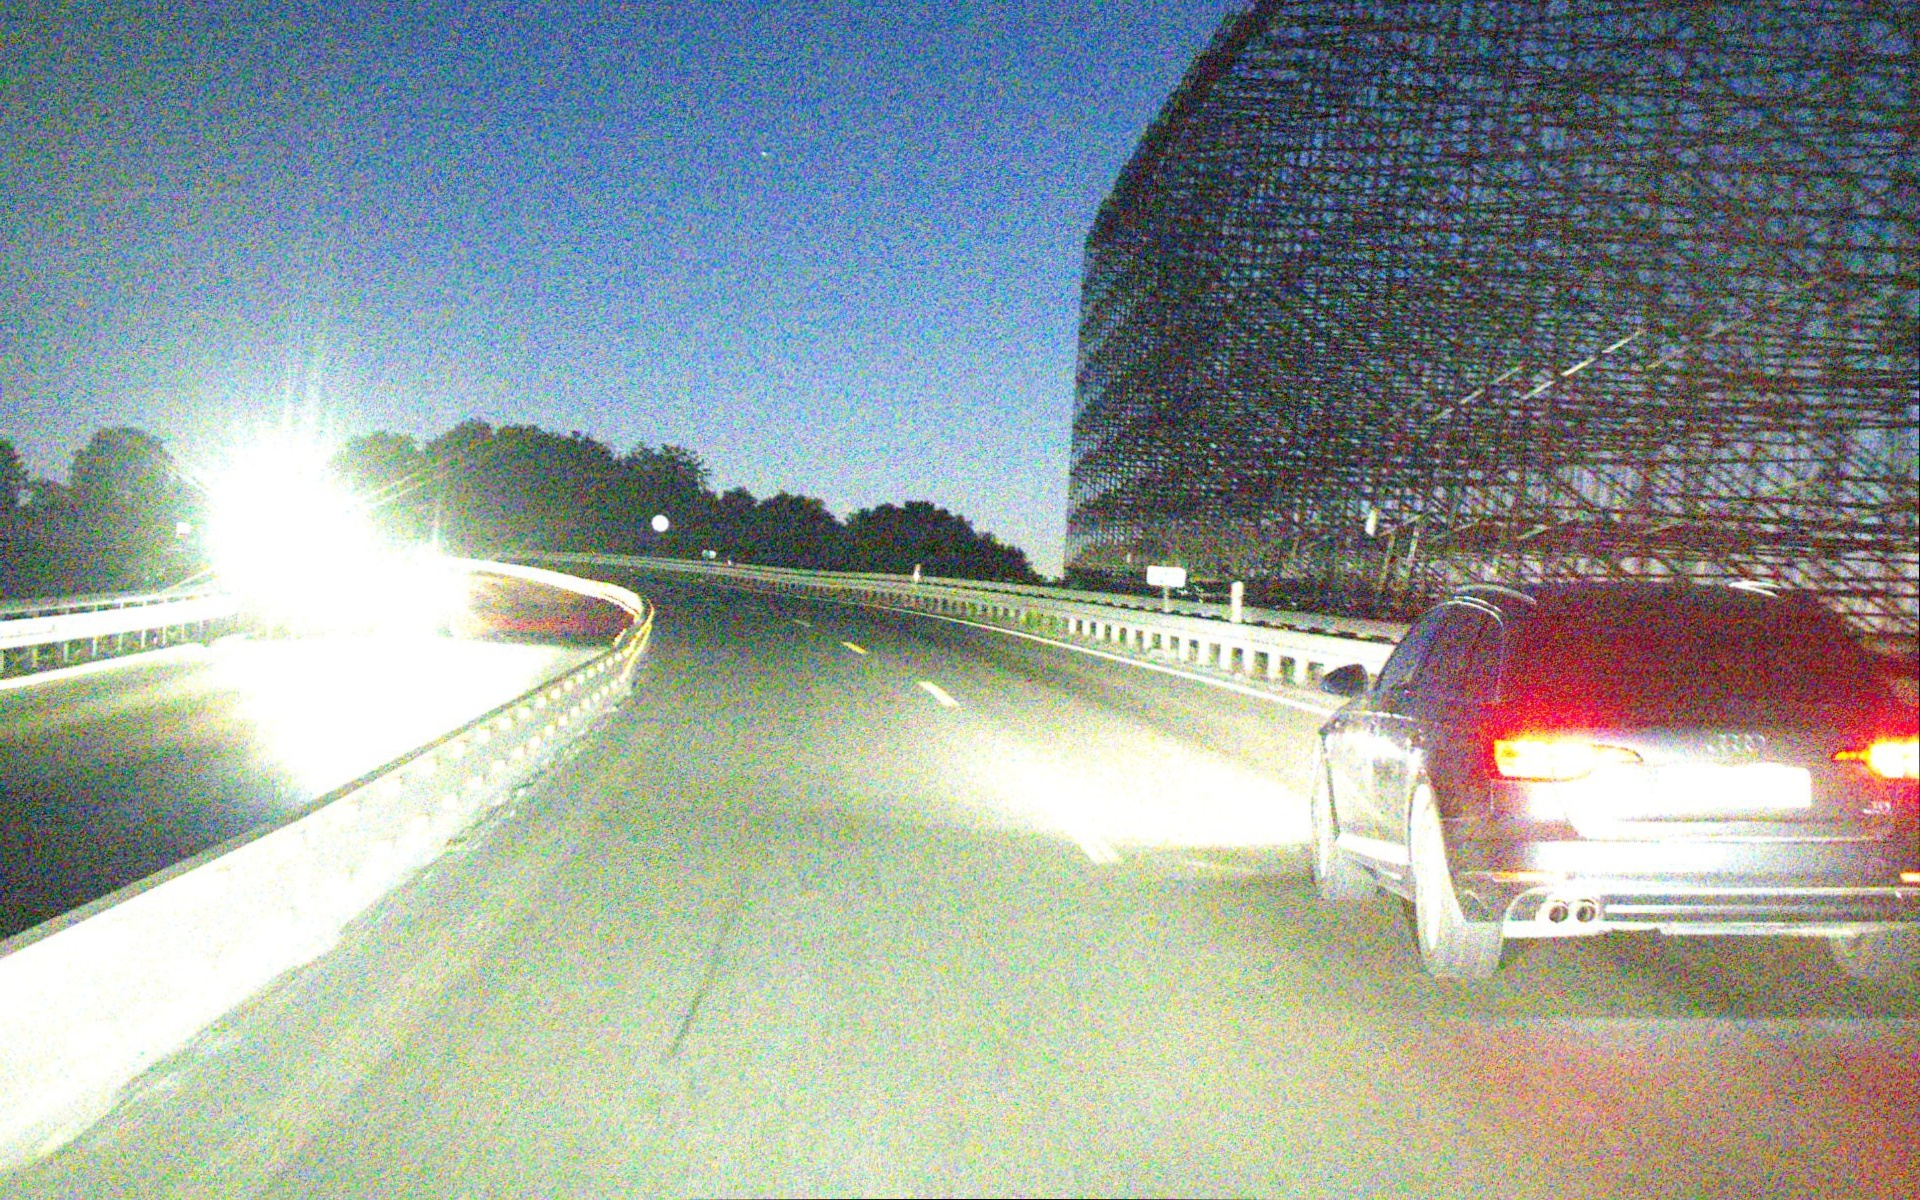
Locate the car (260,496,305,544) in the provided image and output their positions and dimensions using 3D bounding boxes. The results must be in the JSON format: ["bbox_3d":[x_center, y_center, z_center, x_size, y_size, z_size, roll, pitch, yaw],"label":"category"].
[{"bbox_3d":[-46.281,-5.422,234.828,2.485,3.095,7.387,0,0,-15],"label":"car"}]

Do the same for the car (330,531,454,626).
[{"bbox_3d":[-10.129,-0.379,61.610,2.012,1.634,4.863,0,0,-7],"label":"car"}]

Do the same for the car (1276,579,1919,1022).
[{"bbox_3d":[2.453,0.645,13.763,1.808,1.422,4.875,0,1,-1],"label":"car"}]
